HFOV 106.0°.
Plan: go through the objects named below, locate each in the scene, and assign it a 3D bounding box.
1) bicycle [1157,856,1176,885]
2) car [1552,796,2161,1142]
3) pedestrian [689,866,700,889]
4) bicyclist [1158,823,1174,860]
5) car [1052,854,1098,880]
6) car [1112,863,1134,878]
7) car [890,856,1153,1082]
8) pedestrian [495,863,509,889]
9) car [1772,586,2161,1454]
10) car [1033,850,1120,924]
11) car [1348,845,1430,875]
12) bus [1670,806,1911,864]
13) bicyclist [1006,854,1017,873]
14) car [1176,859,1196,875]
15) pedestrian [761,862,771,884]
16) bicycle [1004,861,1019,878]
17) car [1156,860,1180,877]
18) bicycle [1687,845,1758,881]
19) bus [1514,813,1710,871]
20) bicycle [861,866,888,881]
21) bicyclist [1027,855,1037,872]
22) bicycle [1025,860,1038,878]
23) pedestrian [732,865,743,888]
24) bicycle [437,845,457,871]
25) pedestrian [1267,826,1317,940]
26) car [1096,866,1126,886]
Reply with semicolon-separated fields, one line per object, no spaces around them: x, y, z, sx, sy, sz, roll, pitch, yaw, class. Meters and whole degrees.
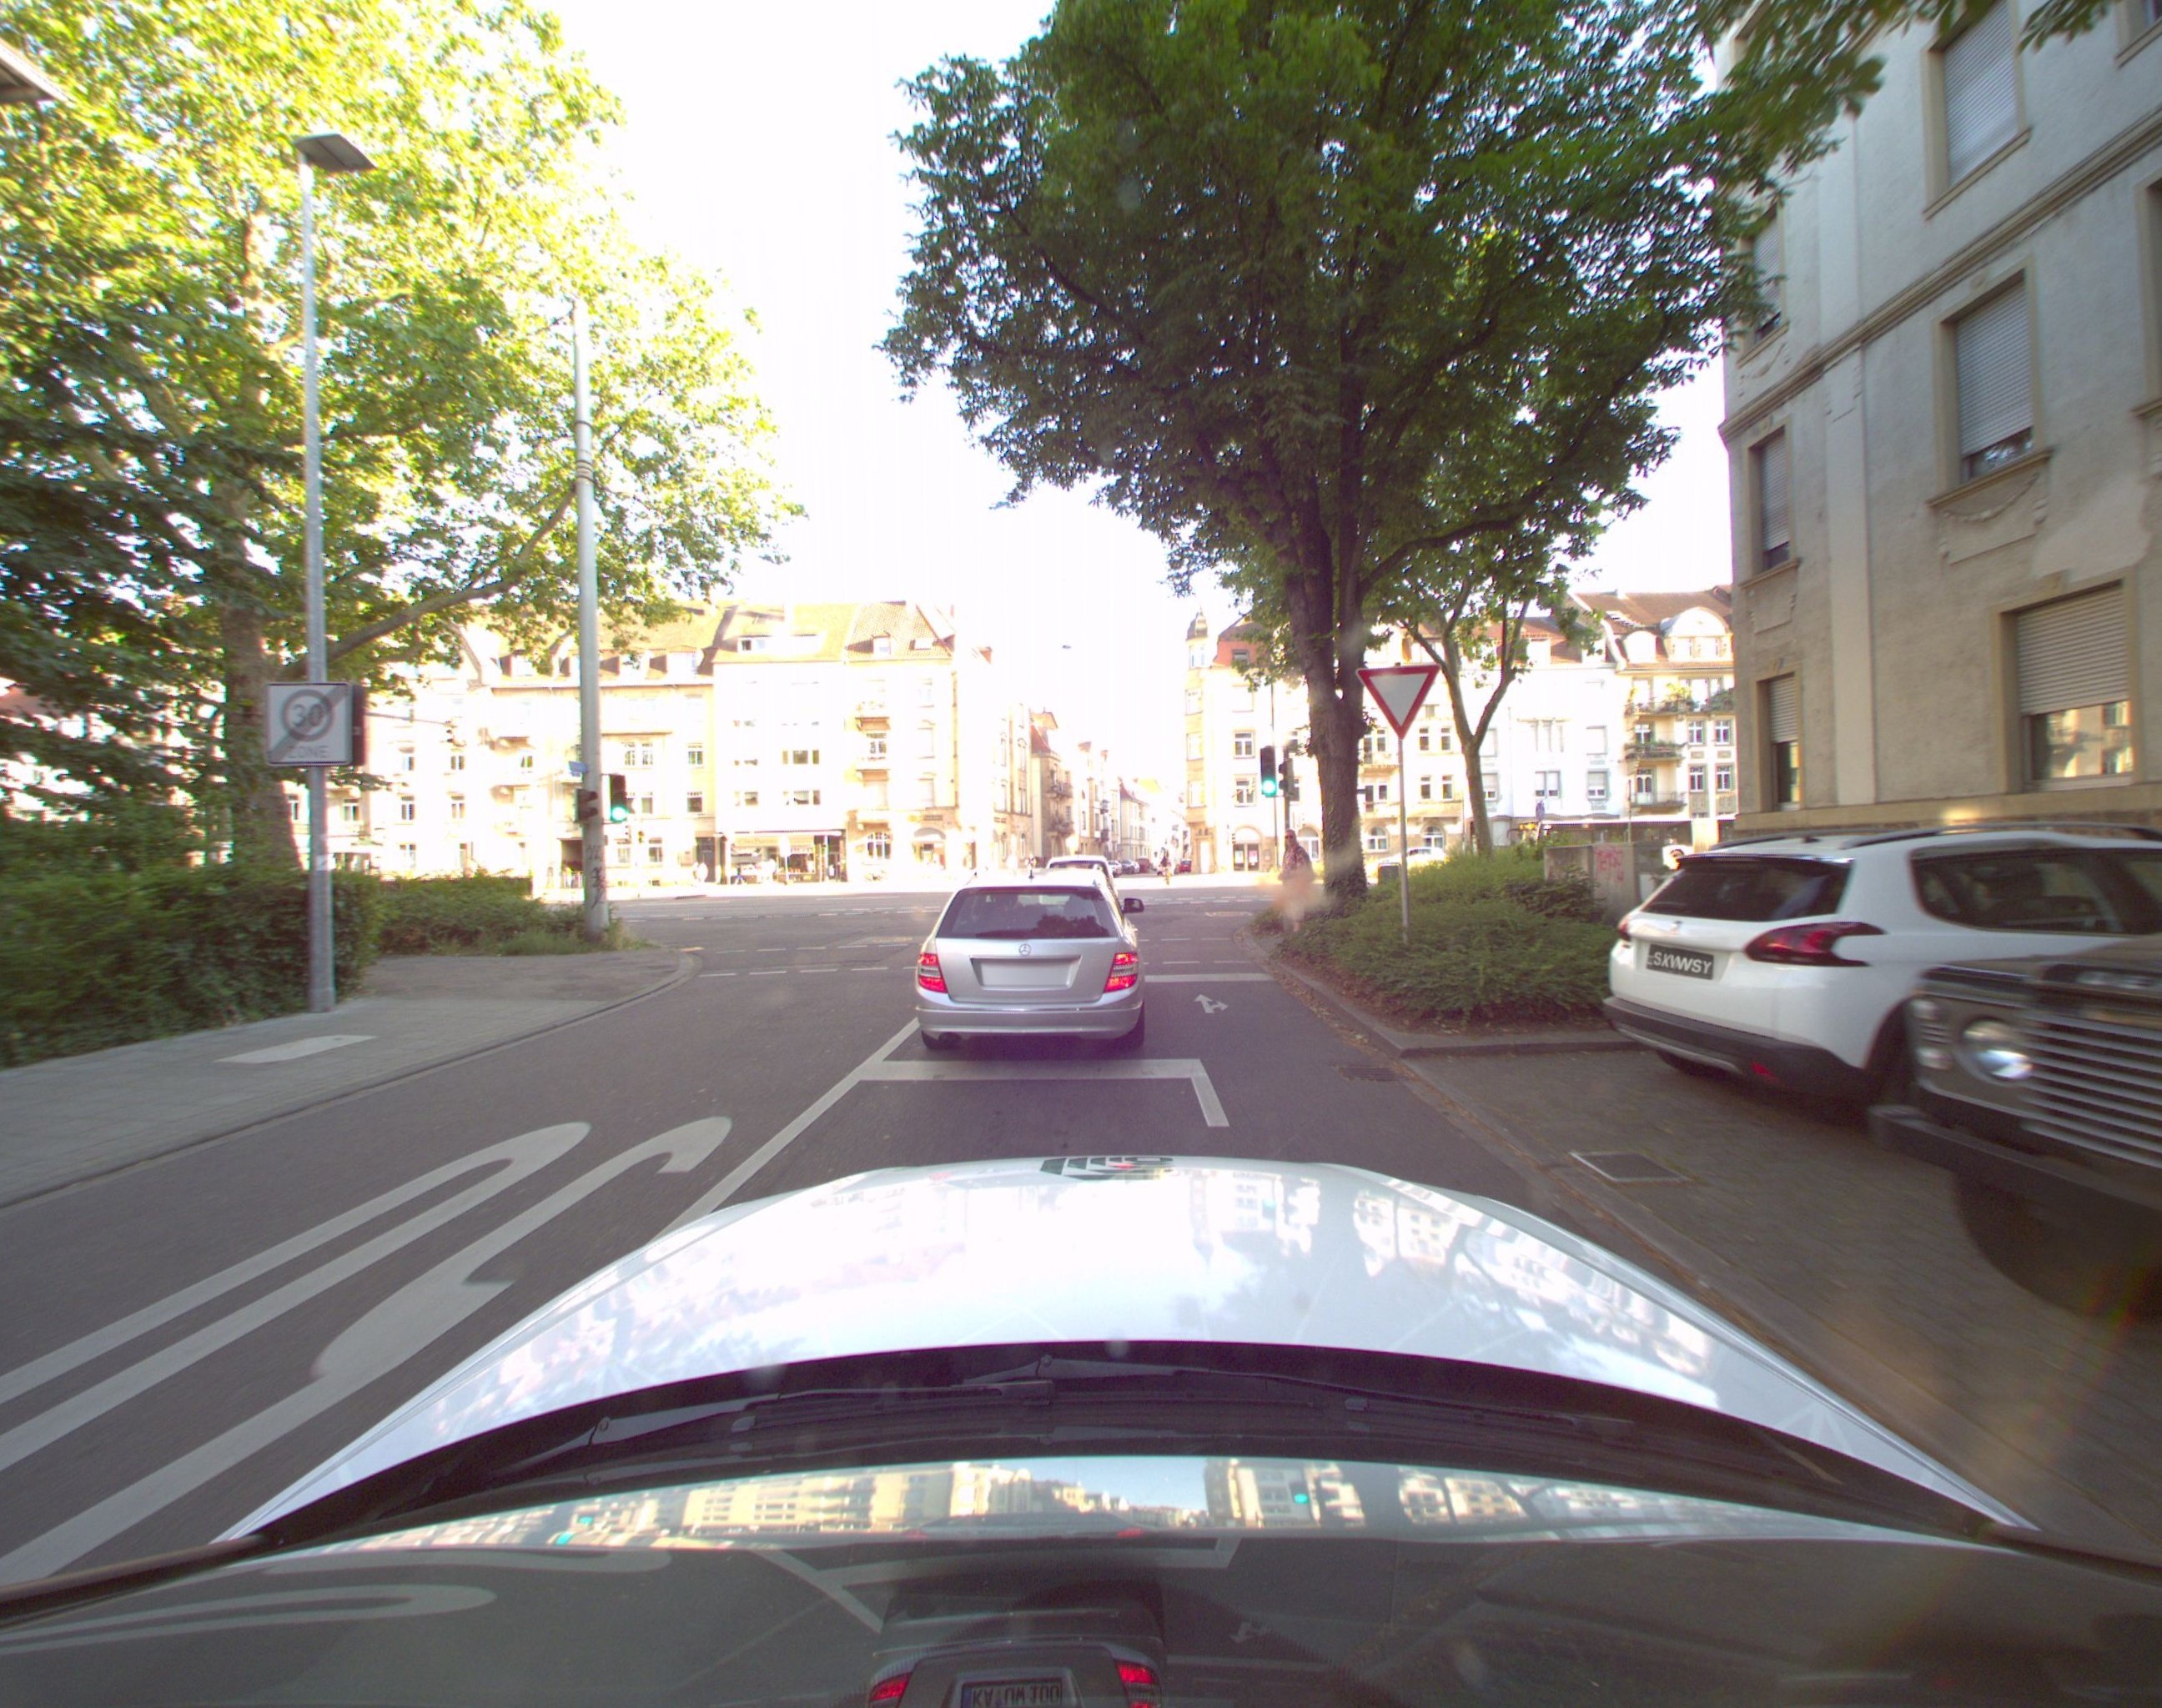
3.417;0.660;32.604;0.617;1.105;2.555;0;-1;3;bicycle
5.235;0.505;4.715;4.022;1.575;1.684;-2;0;0;car
-26.726;1.598;56.341;0.561;1.564;0.467;0;-1;-4;pedestrian
3.401;-0.489;32.590;0.607;1.494;0.768;0;-1;3;bicyclist
-0.413;0.958;62.436;1.897;1.899;4.333;-1;-1;24;car
4.911;1.918;94.512;1.817;1.615;4.014;-1;-1;13;car
-0.326;0.777;7.455;1.725;1.477;4.174;0;-1;2;car
-40.976;1.533;57.646;0.473;1.837;0.641;0;-1;2;pedestrian
4.668;0.319;1.930;4.404;1.985;1.760;-2;-3;1;car
-0.029;0.683;18.270;1.725;1.480;3.816;0;-1;2;car
17.531;0.349;46.529;3.971;1.684;1.937;0;-1;2;car
43.067;-1.114;49.705;11.899;3.374;3.265;0;-1;0;bus
-4.628;0.643;54.392;0.656;1.236;0.768;0;-1;3;bicyclist
12.034;1.469;93.442;1.817;1.706;4.015;-1;-1;14;car
-22.425;1.324;58.027;0.561;1.564;0.467;0;-1;-4;pedestrian
-4.627;1.016;54.366;0.648;1.105;2.555;0;-1;3;bicycle
8.338;1.370;77.654;1.817;1.615;4.013;-1;-1;12;car
19.533;0.273;24.809;1.863;1.068;0.371;-1;-1;-2;bicycle
32.182;-0.691;49.667;9.833;3.374;3.276;0;-1;0;bus
-14.857;1.424;58.515;1.802;1.028;0.492;-1;0;-2;bicycle
-3.358;0.644;55.720;0.607;1.158;0.768;0;-1;3;bicyclist
-3.372;1.016;55.516;0.648;1.105;1.926;0;1;3;bicycle
-24.153;1.587;57.215;0.561;1.564;0.467;0;-1;-4;pedestrian
-43.459;0.278;55.825;0.882;1.737;0.561;0;-1;3;bicycle
3.438;0.464;13.286;0.696;1.806;0.667;0;-1;7;pedestrian
2.775;1.984;74.657;1.816;1.706;4.016;-1;-1;15;car
